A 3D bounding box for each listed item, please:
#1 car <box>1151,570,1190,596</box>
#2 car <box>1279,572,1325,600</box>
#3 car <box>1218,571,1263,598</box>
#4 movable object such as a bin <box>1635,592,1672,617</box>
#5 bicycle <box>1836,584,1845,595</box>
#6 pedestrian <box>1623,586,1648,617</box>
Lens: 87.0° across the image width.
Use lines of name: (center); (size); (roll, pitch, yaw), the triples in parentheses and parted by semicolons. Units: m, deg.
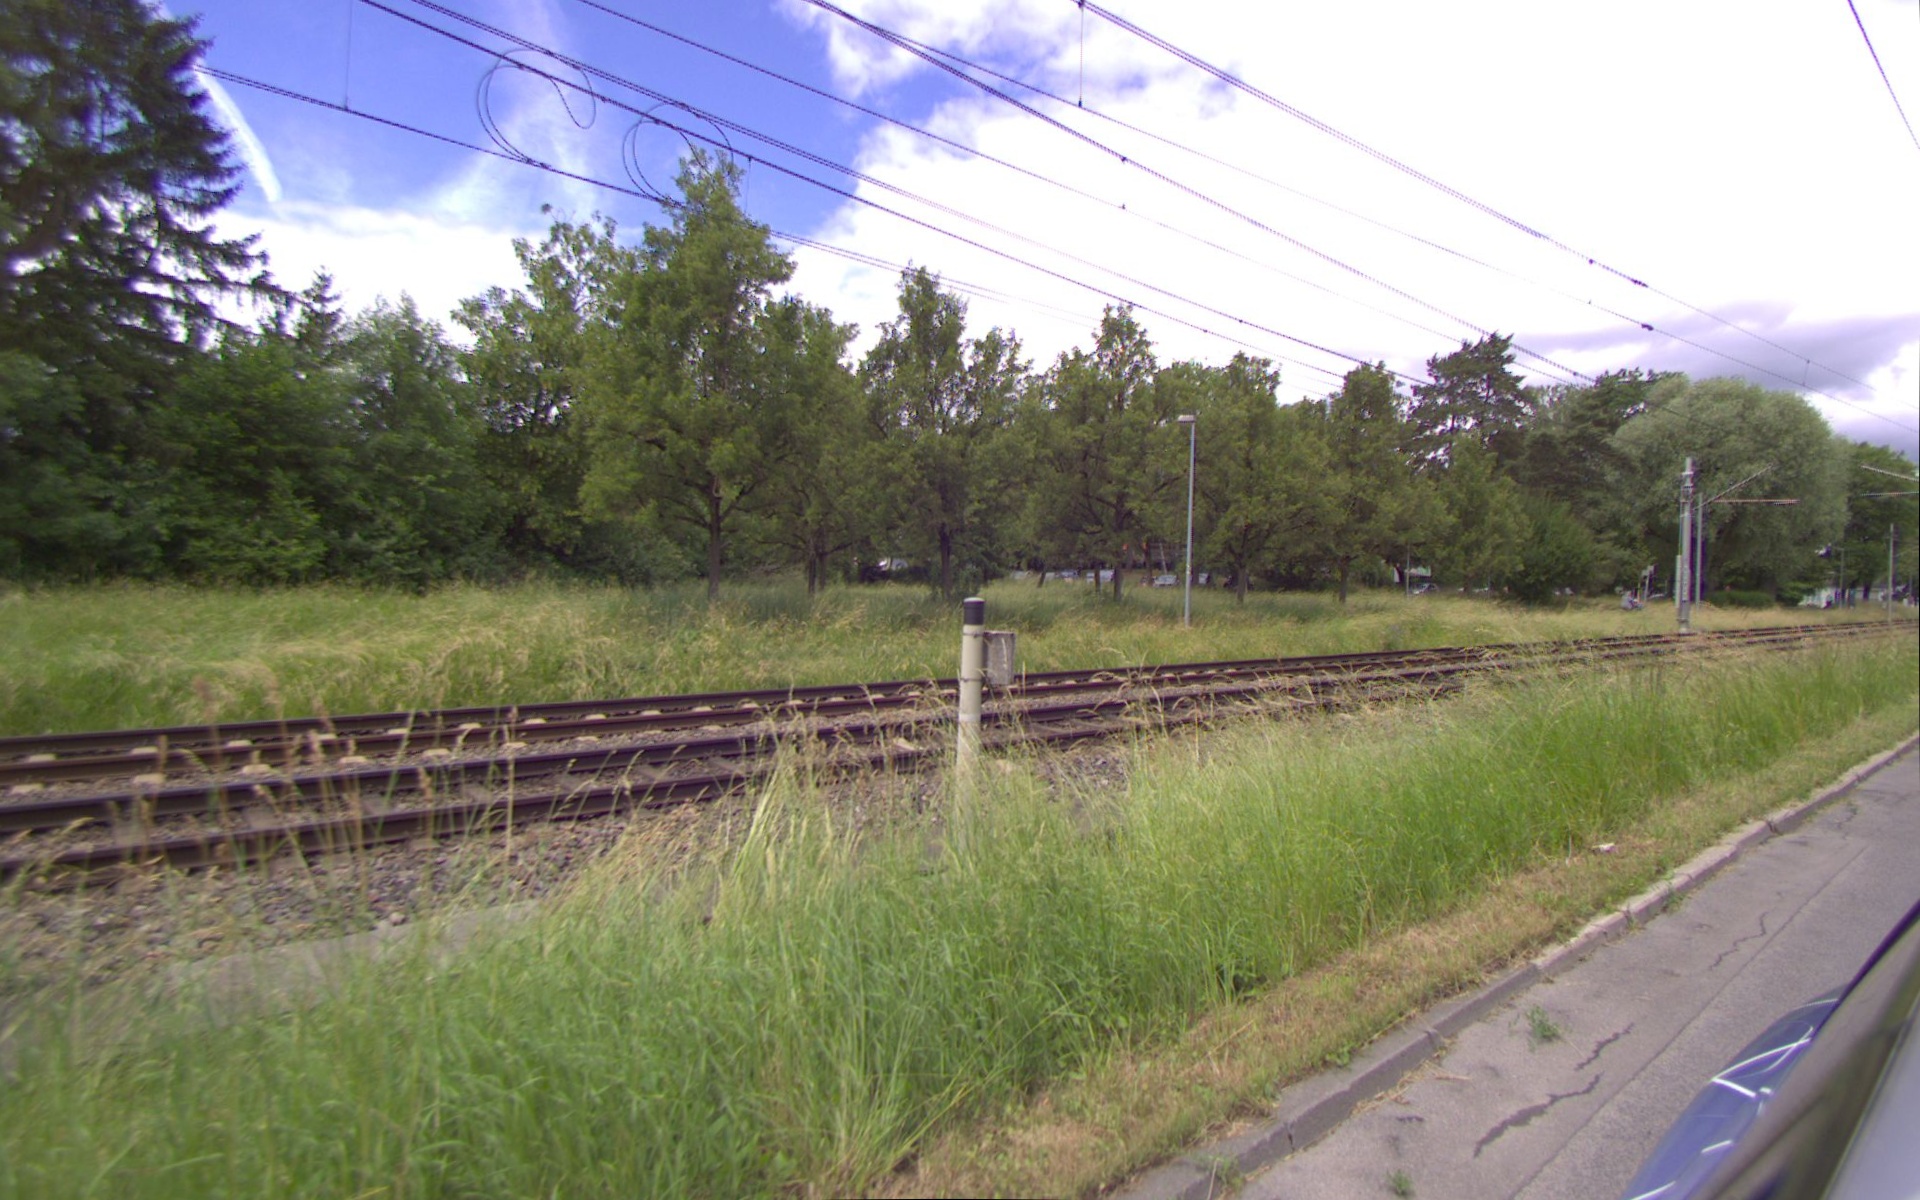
car: (15.490, -1.248, 74.319); (1.979, 1.835, 3.967); (1, 1, 24)
car: (22.698, -0.915, 67.154); (1.740, 1.826, 3.946); (1, 1, 37)
car: (19.624, -1.051, 70.684); (1.740, 1.826, 3.946); (1, 1, 37)
movable object such as a bin: (38.924, 0.248, 56.813); (1.612, 1.326, 0.660); (1, 1, 1)
bicycle: (101.179, -1.168, 116.314); (1.897, 1.261, 0.581); (0, 2, -44)
pedestrian: (37.910, 0.067, 56.818); (0.940, 1.687, 0.658); (1, 1, 1)
